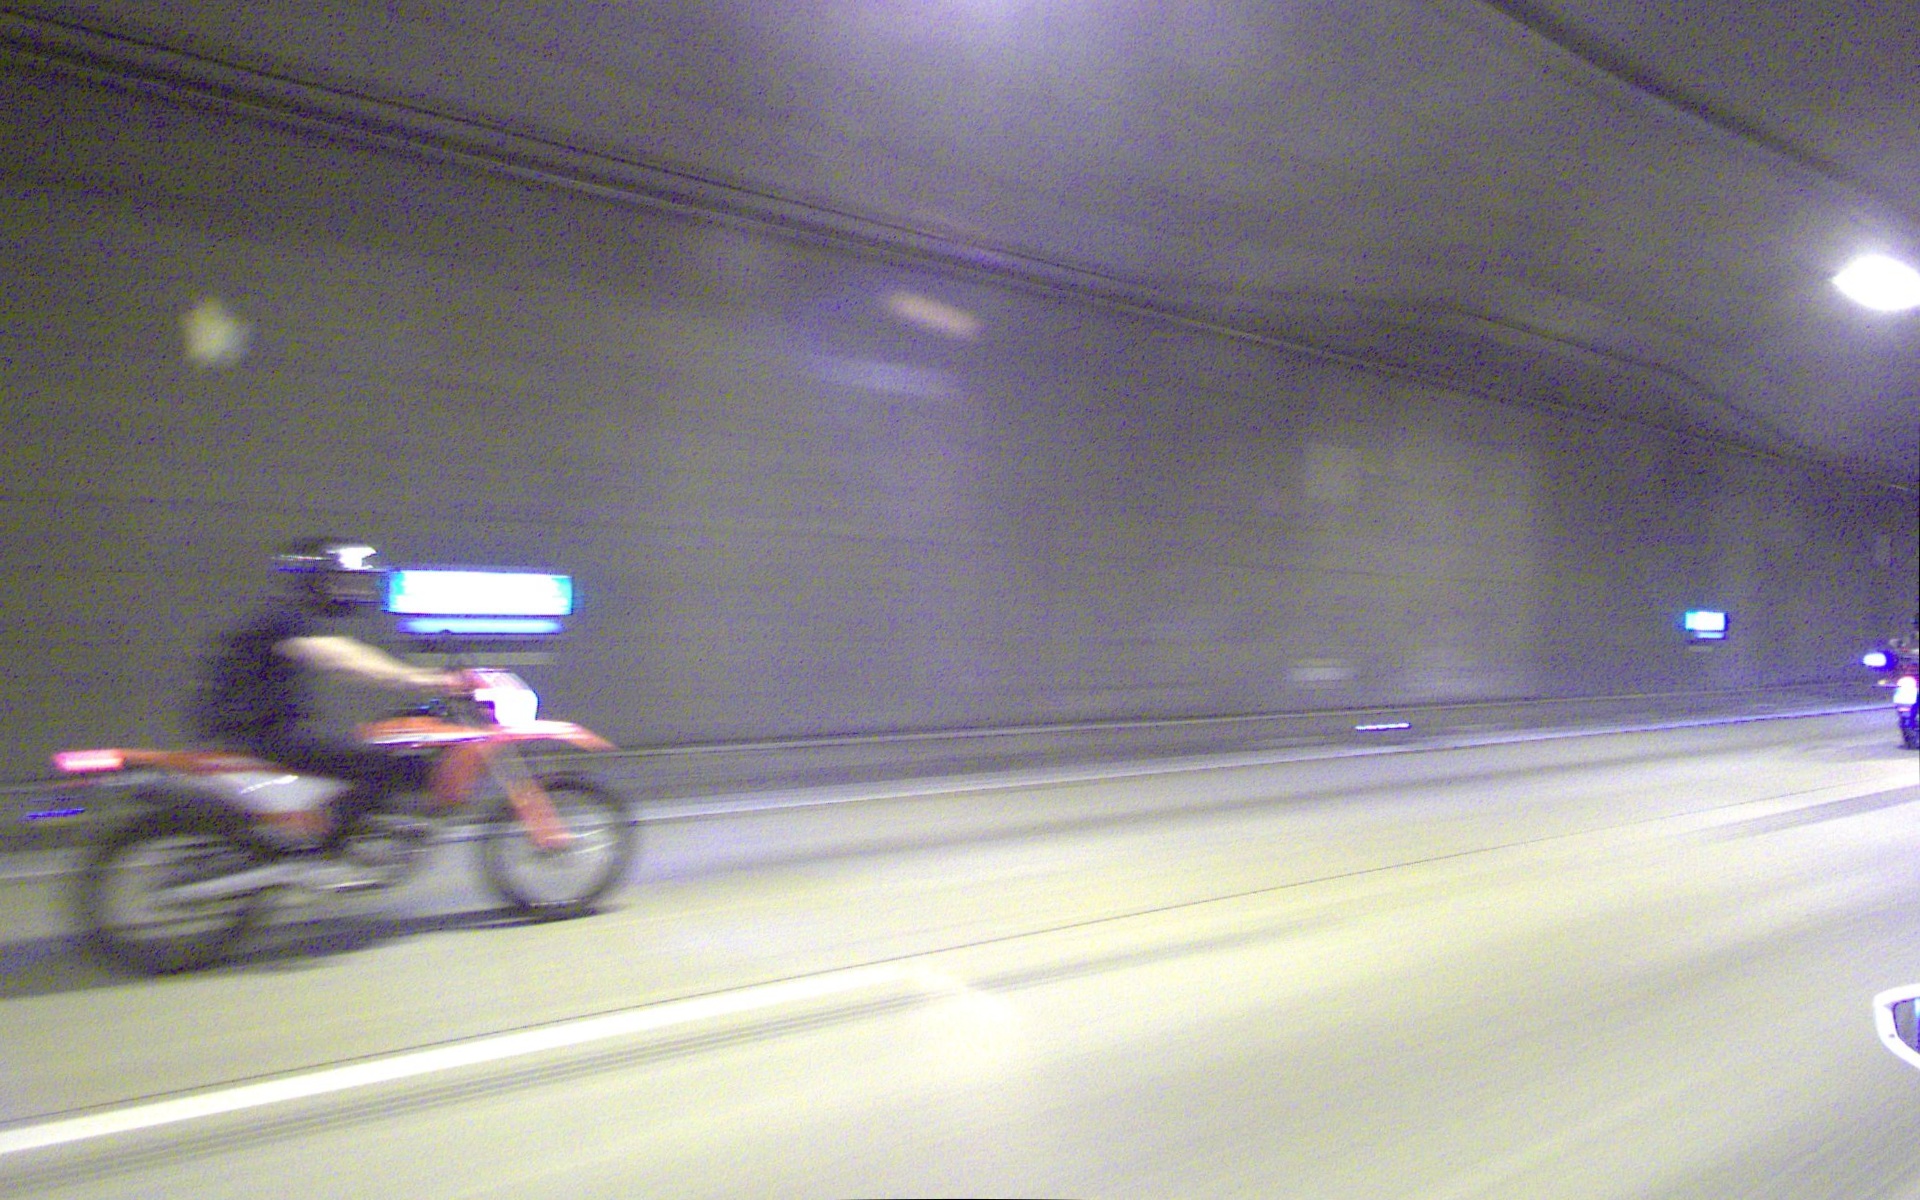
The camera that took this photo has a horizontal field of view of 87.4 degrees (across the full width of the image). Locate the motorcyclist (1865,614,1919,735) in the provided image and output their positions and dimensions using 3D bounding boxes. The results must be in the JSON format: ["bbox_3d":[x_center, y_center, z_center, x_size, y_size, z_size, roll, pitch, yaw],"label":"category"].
[{"bbox_3d":[12.125,0.928,12.671,0.811,1.497,0.835,1,-2,-29],"label":"motorcyclist"}]

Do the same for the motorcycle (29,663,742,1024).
[{"bbox_3d":[-2.260,0.886,4.384,2.393,1.173,1.051,1,-1,-24],"label":"motorcycle"}]

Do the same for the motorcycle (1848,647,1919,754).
[{"bbox_3d":[12.418,1.238,12.835,2.573,1.262,0.842,1,-2,-30],"label":"motorcycle"}]

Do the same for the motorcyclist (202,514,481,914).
[{"bbox_3d":[-2.558,0.446,4.264,0.878,1.509,0.626,1,-2,-22],"label":"motorcyclist"}]
